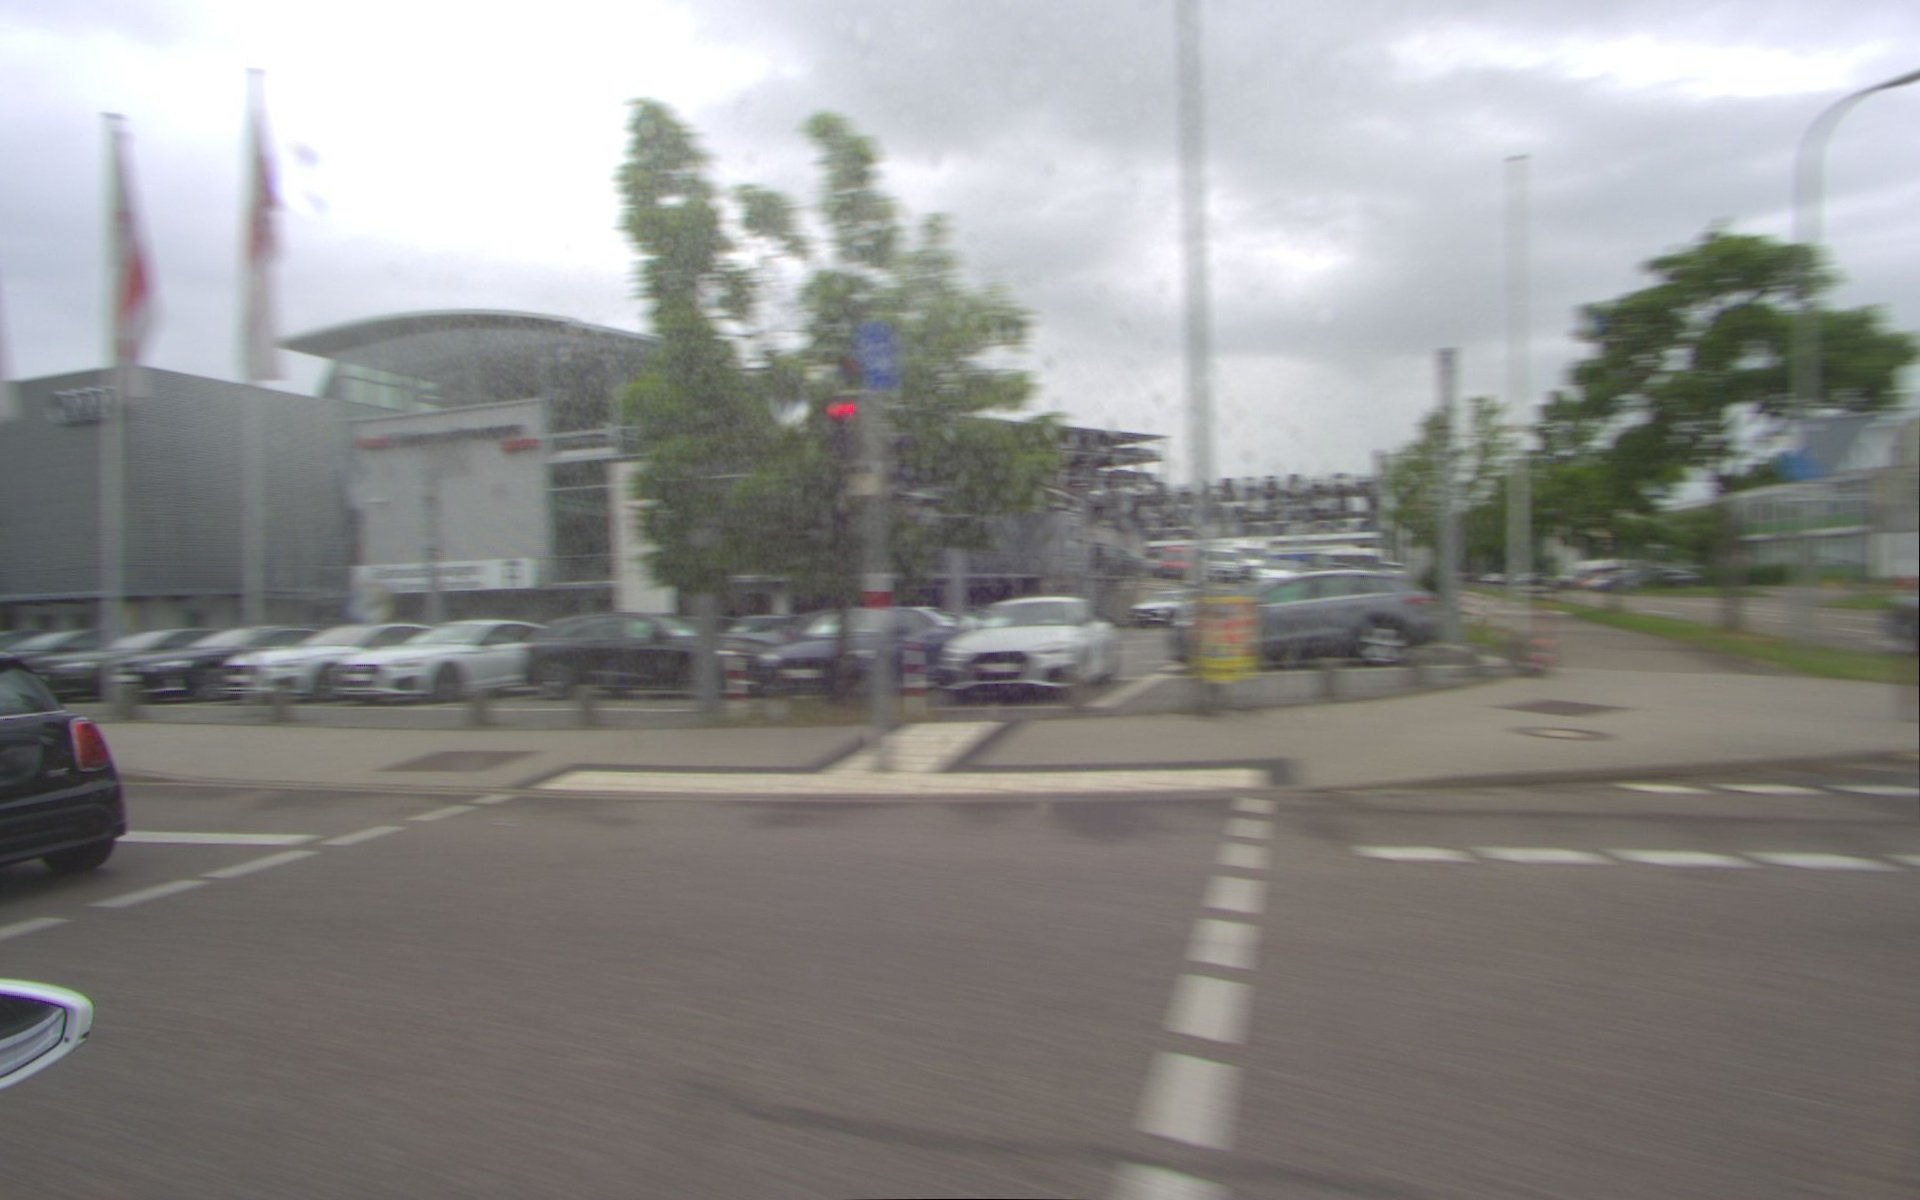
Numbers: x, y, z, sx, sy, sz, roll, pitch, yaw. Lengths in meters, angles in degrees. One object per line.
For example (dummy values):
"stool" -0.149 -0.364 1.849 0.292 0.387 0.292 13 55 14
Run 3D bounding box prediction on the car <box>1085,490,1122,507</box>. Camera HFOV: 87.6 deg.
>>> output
"car" 20.770 -14.708 145.302 2.185 1.971 5.287 -2 1 -39

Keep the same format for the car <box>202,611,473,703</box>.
"car" -11.362 1.010 18.637 1.844 1.505 4.038 -1 -2 19

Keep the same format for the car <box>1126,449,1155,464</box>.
"car" 26.656 -21.243 148.026 1.974 1.690 3.971 -1 1 -35

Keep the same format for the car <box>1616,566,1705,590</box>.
"car" 53.192 -1.654 76.183 5.100 1.743 2.138 1 1 21

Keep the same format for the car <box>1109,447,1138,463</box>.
"car" 23.707 -21.081 145.655 1.974 1.690 3.971 -1 1 -35

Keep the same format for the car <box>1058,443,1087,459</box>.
"car" 15.664 -20.727 139.435 1.974 1.690 3.971 -1 1 -35

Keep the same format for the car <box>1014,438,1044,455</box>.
"car" 9.288 -20.673 134.803 1.974 1.690 3.971 -1 1 -35

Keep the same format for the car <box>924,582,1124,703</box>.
"car" 1.114 0.596 14.756 1.842 1.505 4.222 -2 -1 19

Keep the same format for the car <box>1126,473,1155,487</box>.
"car" 26.633 -17.711 147.946 1.974 1.690 3.971 -1 1 -35

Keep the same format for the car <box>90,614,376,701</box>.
"car" -13.935 1.076 19.515 1.839 1.505 4.225 -1 -2 19

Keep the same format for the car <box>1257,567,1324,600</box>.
"car" 20.884 -1.018 63.258 3.930 2.041 1.995 1 1 20

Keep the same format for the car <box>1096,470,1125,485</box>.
"car" 21.679 -17.691 144.309 1.974 1.690 3.971 -1 1 -35

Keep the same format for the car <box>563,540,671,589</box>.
"car" -12.618 -1.255 37.122 1.792 1.684 3.993 1 1 17

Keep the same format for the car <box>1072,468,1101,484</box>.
"car" 17.806 -17.478 141.108 1.974 1.690 3.971 -1 1 -35

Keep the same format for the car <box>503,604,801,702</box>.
"car" -5.236 0.907 17.073 4.672 1.505 1.890 -2 -2 20

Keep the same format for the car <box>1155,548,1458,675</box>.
"car" 5.971 0.237 17.653 4.703 1.887 1.996 -3 0 18

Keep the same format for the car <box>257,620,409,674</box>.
"car" -20.761 1.501 33.377 1.784 1.565 4.108 1 1 18

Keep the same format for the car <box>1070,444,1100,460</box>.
"car" 17.632 -20.861 141.435 1.974 1.690 3.971 -1 1 -35

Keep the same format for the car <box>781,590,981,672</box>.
"car" -2.033 0.804 25.973 4.734 1.966 1.995 -1 1 20

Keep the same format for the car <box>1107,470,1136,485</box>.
"car" 23.418 -17.768 145.685 1.974 1.690 3.971 -1 1 -35

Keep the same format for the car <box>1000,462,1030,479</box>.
"car" 7.319 -17.181 133.265 1.974 1.690 3.971 -1 1 -35

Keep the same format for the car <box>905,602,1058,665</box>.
"car" 0.725 1.119 33.671 4.734 1.966 1.995 -1 1 20

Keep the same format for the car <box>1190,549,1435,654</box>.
"car" 7.928 0.080 22.861 4.951 2.040 2.262 -3 0 18

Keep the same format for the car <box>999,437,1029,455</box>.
"car" 7.160 -20.493 133.222 1.974 1.690 3.971 -1 1 -35

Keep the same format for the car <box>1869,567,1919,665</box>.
"car" 16.269 0.260 15.404 1.952 1.572 4.599 -1 1 23

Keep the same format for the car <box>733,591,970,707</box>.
"car" -1.483 0.748 15.667 2.033 1.504 4.512 -2 -2 17

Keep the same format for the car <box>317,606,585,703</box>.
"car" -8.910 0.937 17.960 1.820 1.505 4.192 -1 -2 19

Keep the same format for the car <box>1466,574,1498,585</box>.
"car" 91.267 -3.601 175.127 4.717 1.916 2.138 1 1 21

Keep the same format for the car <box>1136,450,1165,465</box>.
"car" 28.392 -21.287 149.391 1.974 1.690 3.971 -1 1 -35

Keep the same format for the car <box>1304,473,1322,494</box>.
"car" 41.884 -13.793 118.909 1.965 1.907 3.993 -1 0 18

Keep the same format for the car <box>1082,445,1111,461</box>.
"car" 19.425 -20.938 142.811 1.974 1.690 3.971 -1 1 -35

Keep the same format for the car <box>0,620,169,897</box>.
"car" -6.798 0.946 5.762 3.579 1.434 1.788 -3 0 18
